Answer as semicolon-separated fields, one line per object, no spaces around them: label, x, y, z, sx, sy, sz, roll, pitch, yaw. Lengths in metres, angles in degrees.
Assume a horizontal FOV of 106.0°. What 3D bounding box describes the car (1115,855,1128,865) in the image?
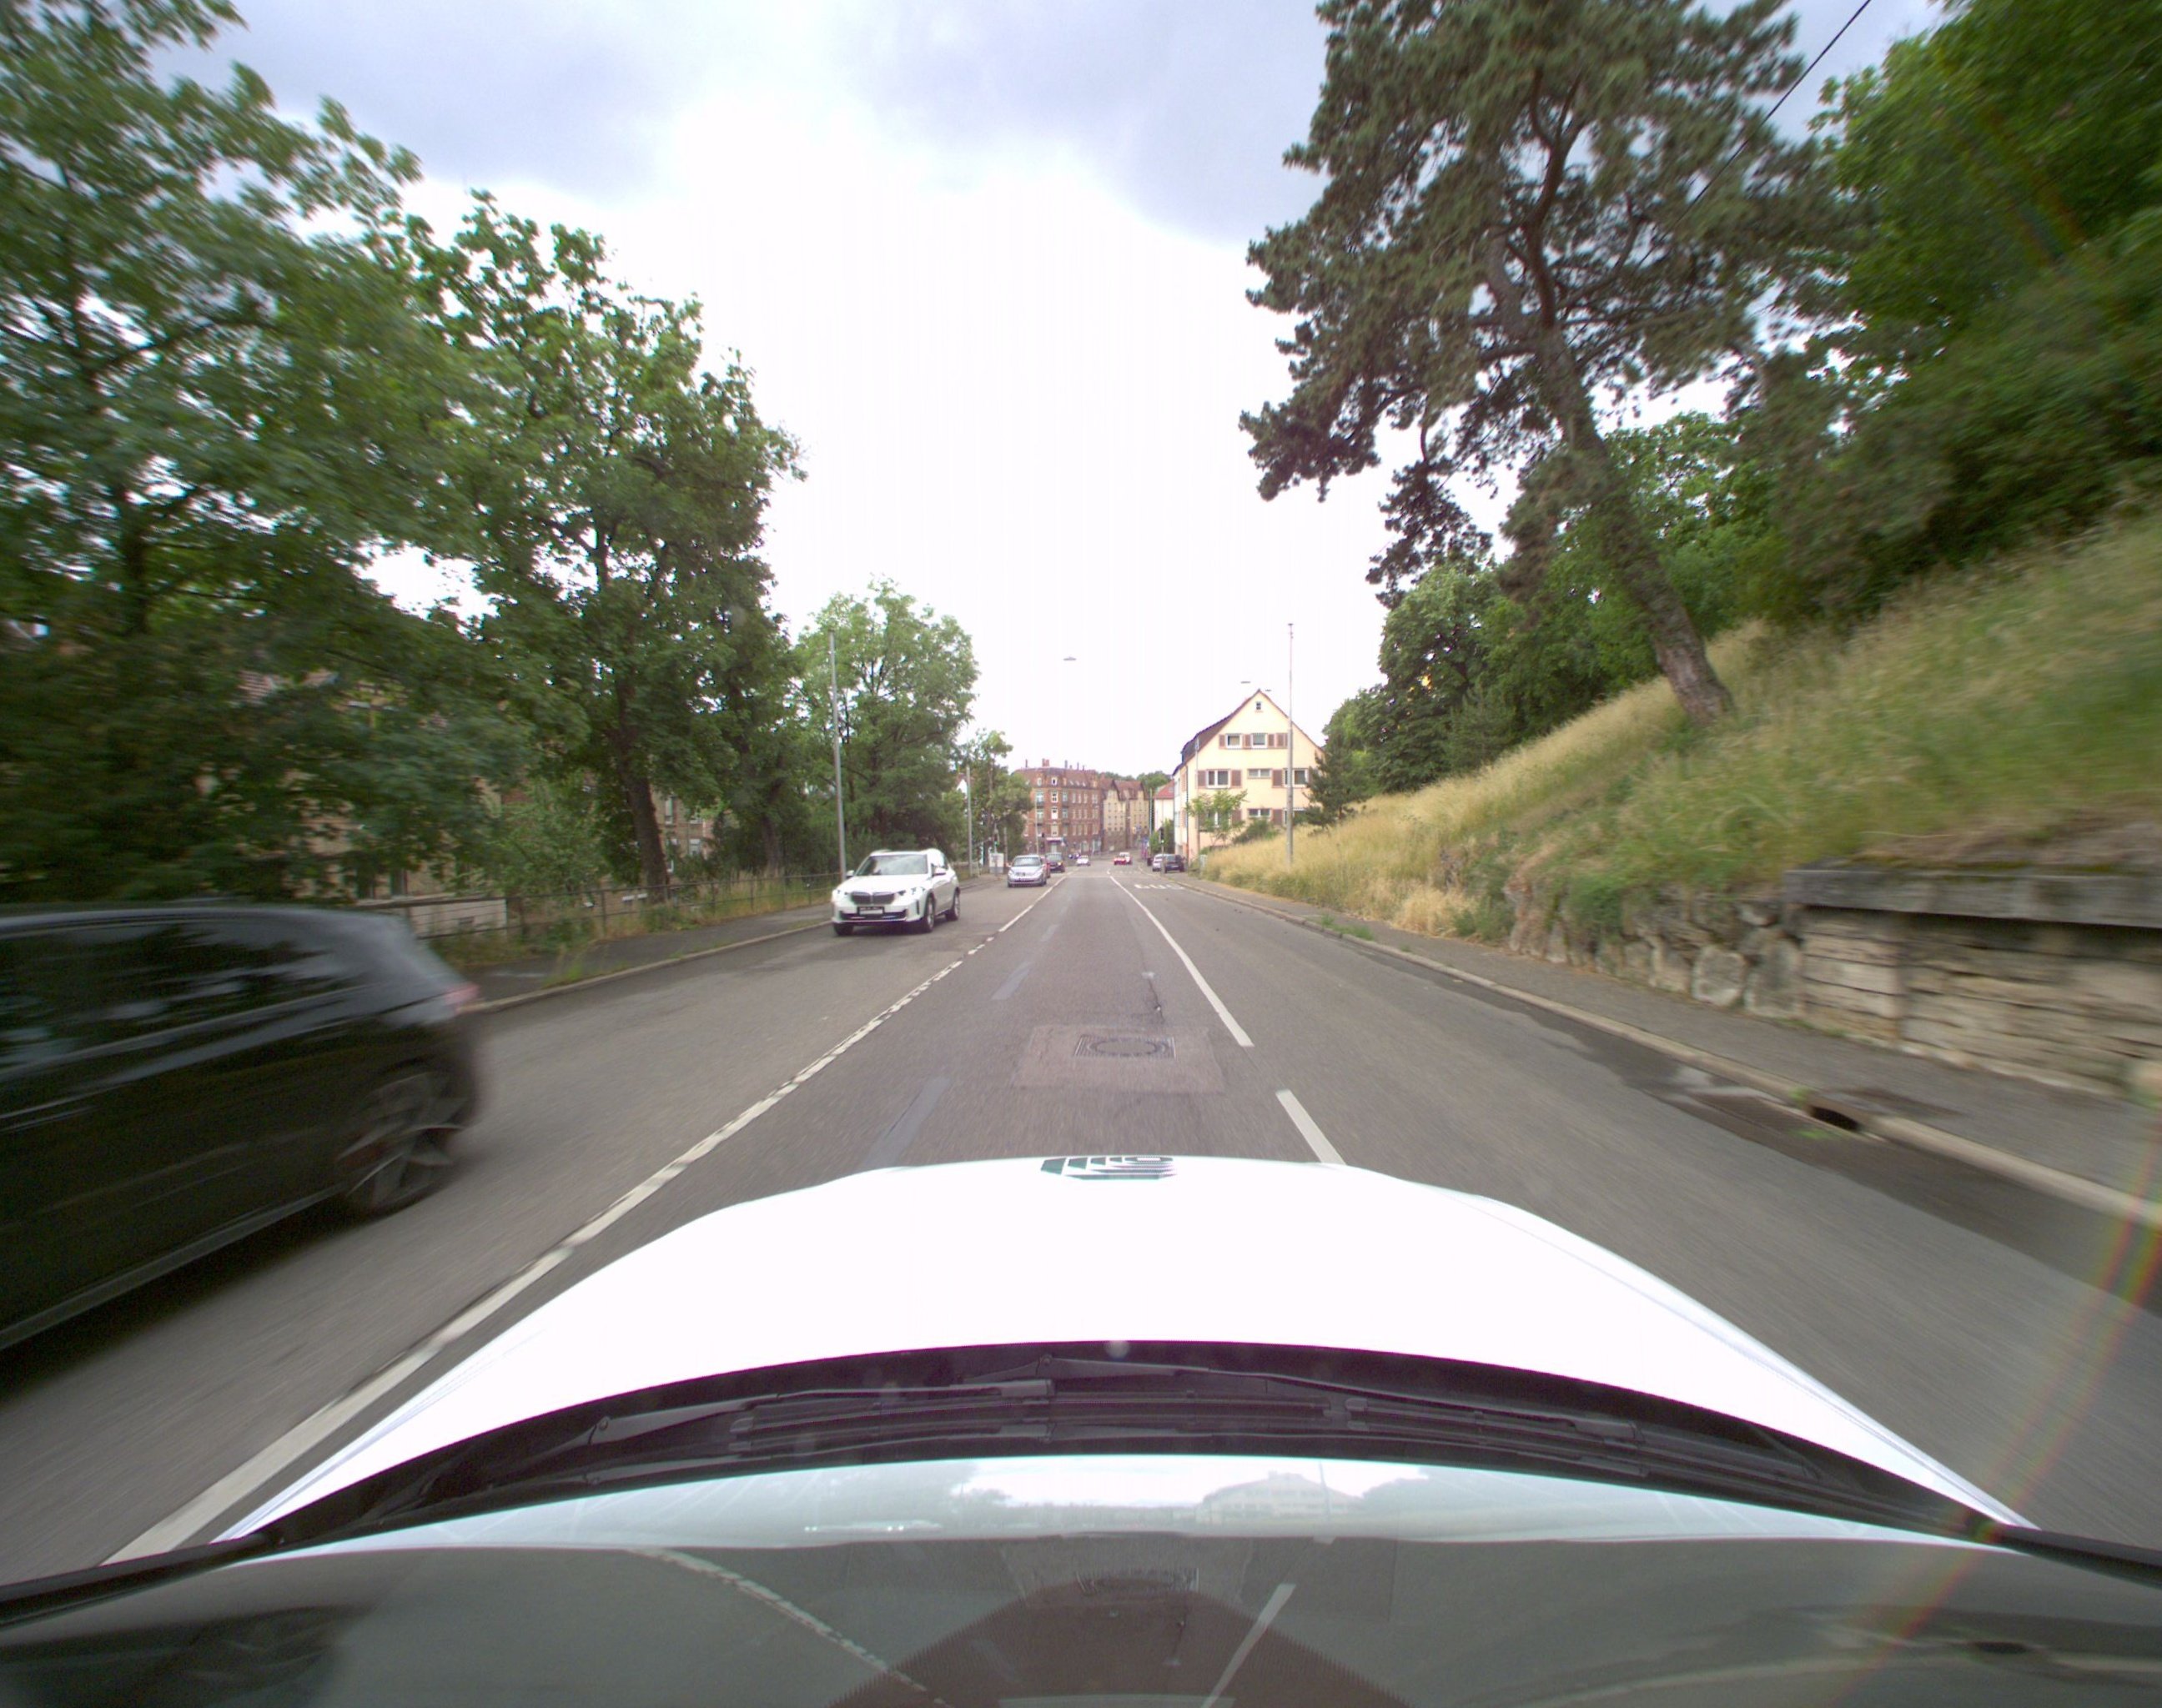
car;6.312;0.897;126.077;1.807;1.430;4.007;0;0;6

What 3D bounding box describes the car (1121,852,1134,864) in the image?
car;7.631;0.660;132.631;1.900;1.884;4.007;0;0;6

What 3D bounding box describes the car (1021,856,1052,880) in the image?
car;-2.998;0.928;55.606;1.777;1.459;4.429;-2;0;1

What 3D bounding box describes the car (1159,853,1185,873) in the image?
car;7.290;0.703;65.589;1.675;1.451;4.001;-4;-1;1

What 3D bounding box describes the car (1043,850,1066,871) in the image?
car;-2.344;0.594;73.084;1.777;1.746;4.430;-2;0;2

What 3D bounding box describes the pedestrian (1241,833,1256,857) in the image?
pedestrian;12.043;-0.622;58.493;0.884;1.696;0.872;1;-1;-2

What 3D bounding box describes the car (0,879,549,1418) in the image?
car;-3.862;0.872;2.471;1.707;1.427;4.139;-2;0;1

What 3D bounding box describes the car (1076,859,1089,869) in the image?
car;0.177;1.415;116.216;1.714;1.445;4.159;-2;0;1

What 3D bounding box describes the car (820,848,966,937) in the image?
car;-4.003;0.756;18.225;1.988;1.683;4.665;-2;0;2

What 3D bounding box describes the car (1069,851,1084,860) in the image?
car;-0.880;0.330;163.496;1.967;1.575;4.393;-3;0;16

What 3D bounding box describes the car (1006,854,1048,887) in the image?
car;-2.733;0.821;42.294;1.777;1.574;4.281;-2;0;1

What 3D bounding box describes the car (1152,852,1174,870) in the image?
car;7.446;0.622;74.387;1.786;1.451;4.725;-4;0;5
